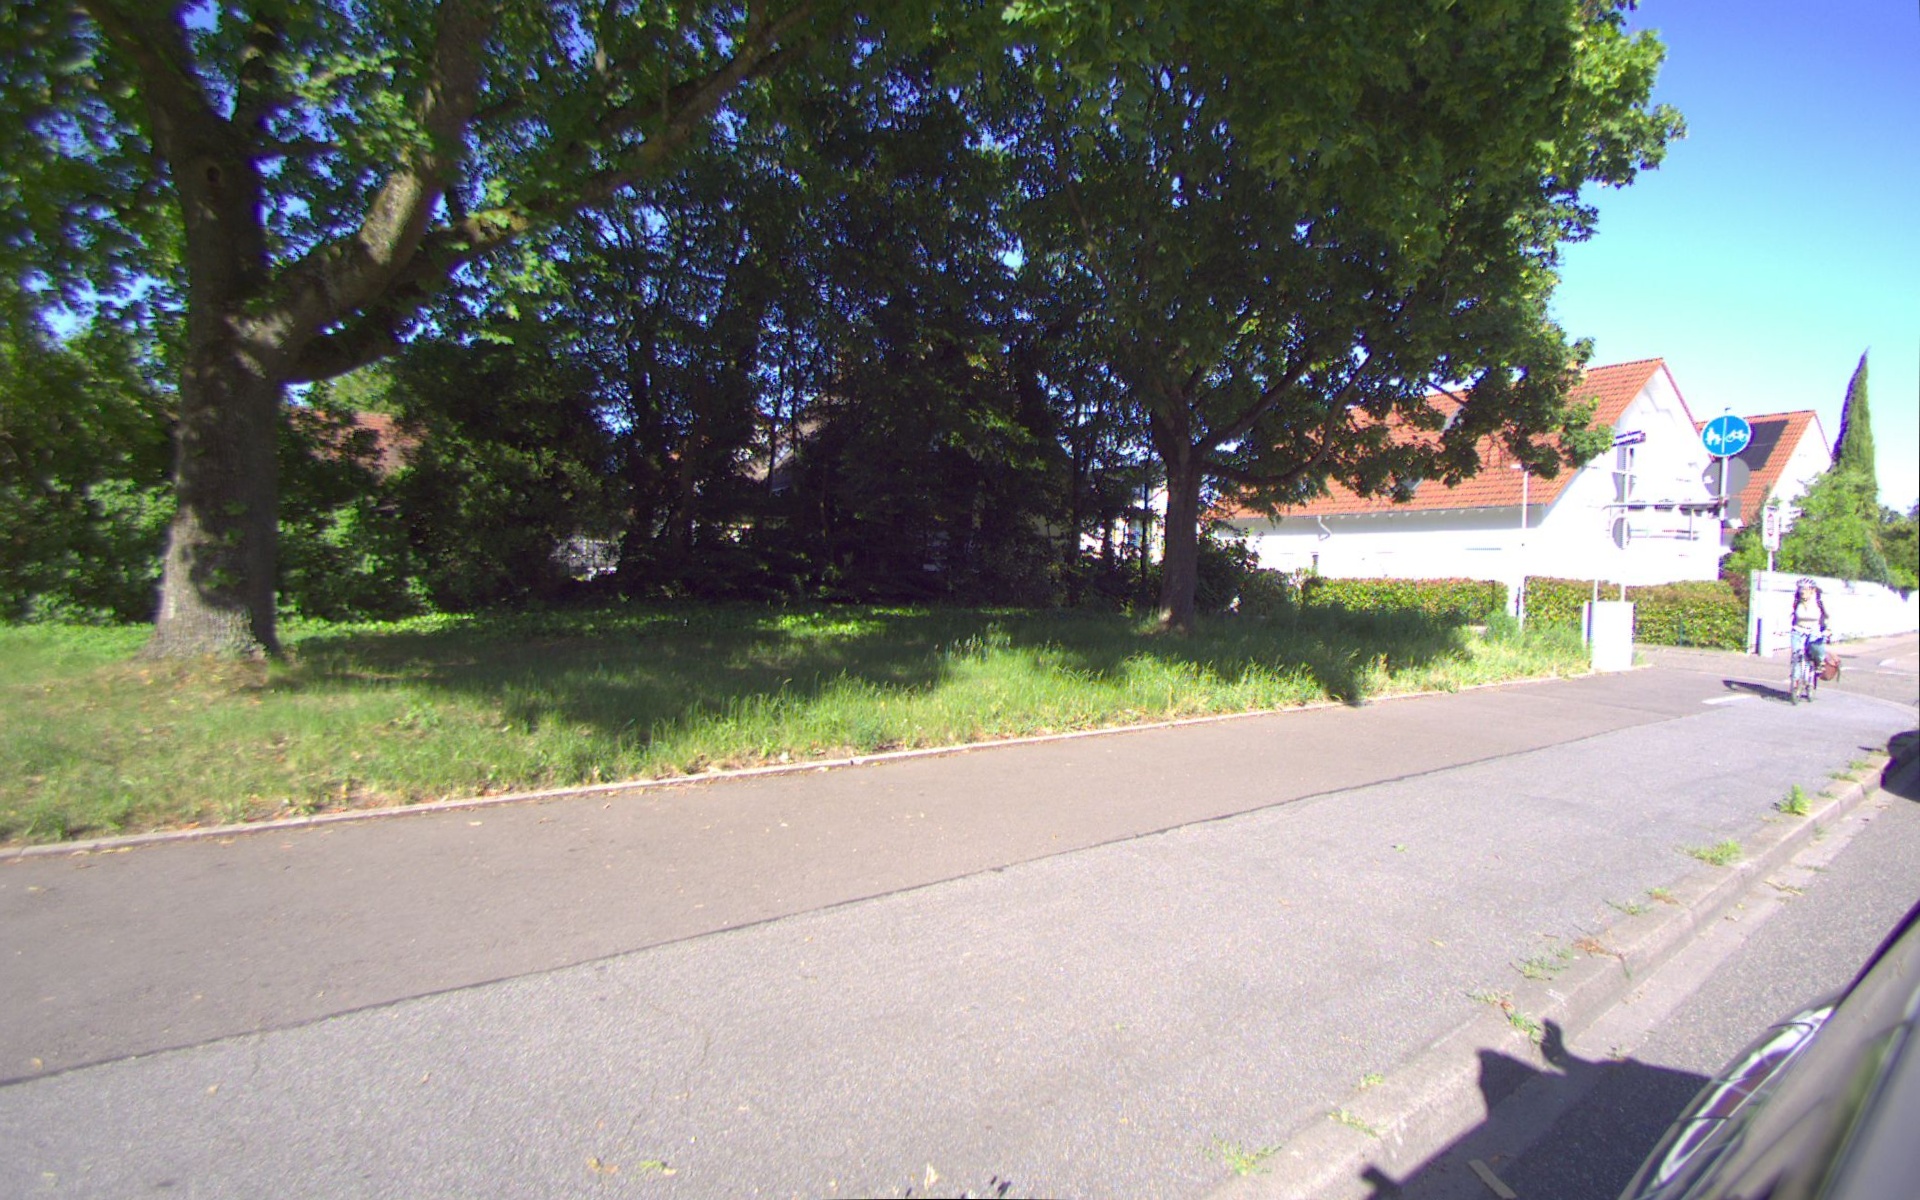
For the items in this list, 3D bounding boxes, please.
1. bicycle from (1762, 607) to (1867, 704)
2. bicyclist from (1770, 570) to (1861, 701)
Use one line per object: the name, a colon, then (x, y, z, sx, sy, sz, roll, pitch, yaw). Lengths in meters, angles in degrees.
bicycle: (11.426, 0.706, 13.511, 2.101, 1.169, 0.576, 1, 4, -38)
bicyclist: (11.397, 0.455, 13.483, 0.964, 1.652, 0.632, 1, 4, -38)
